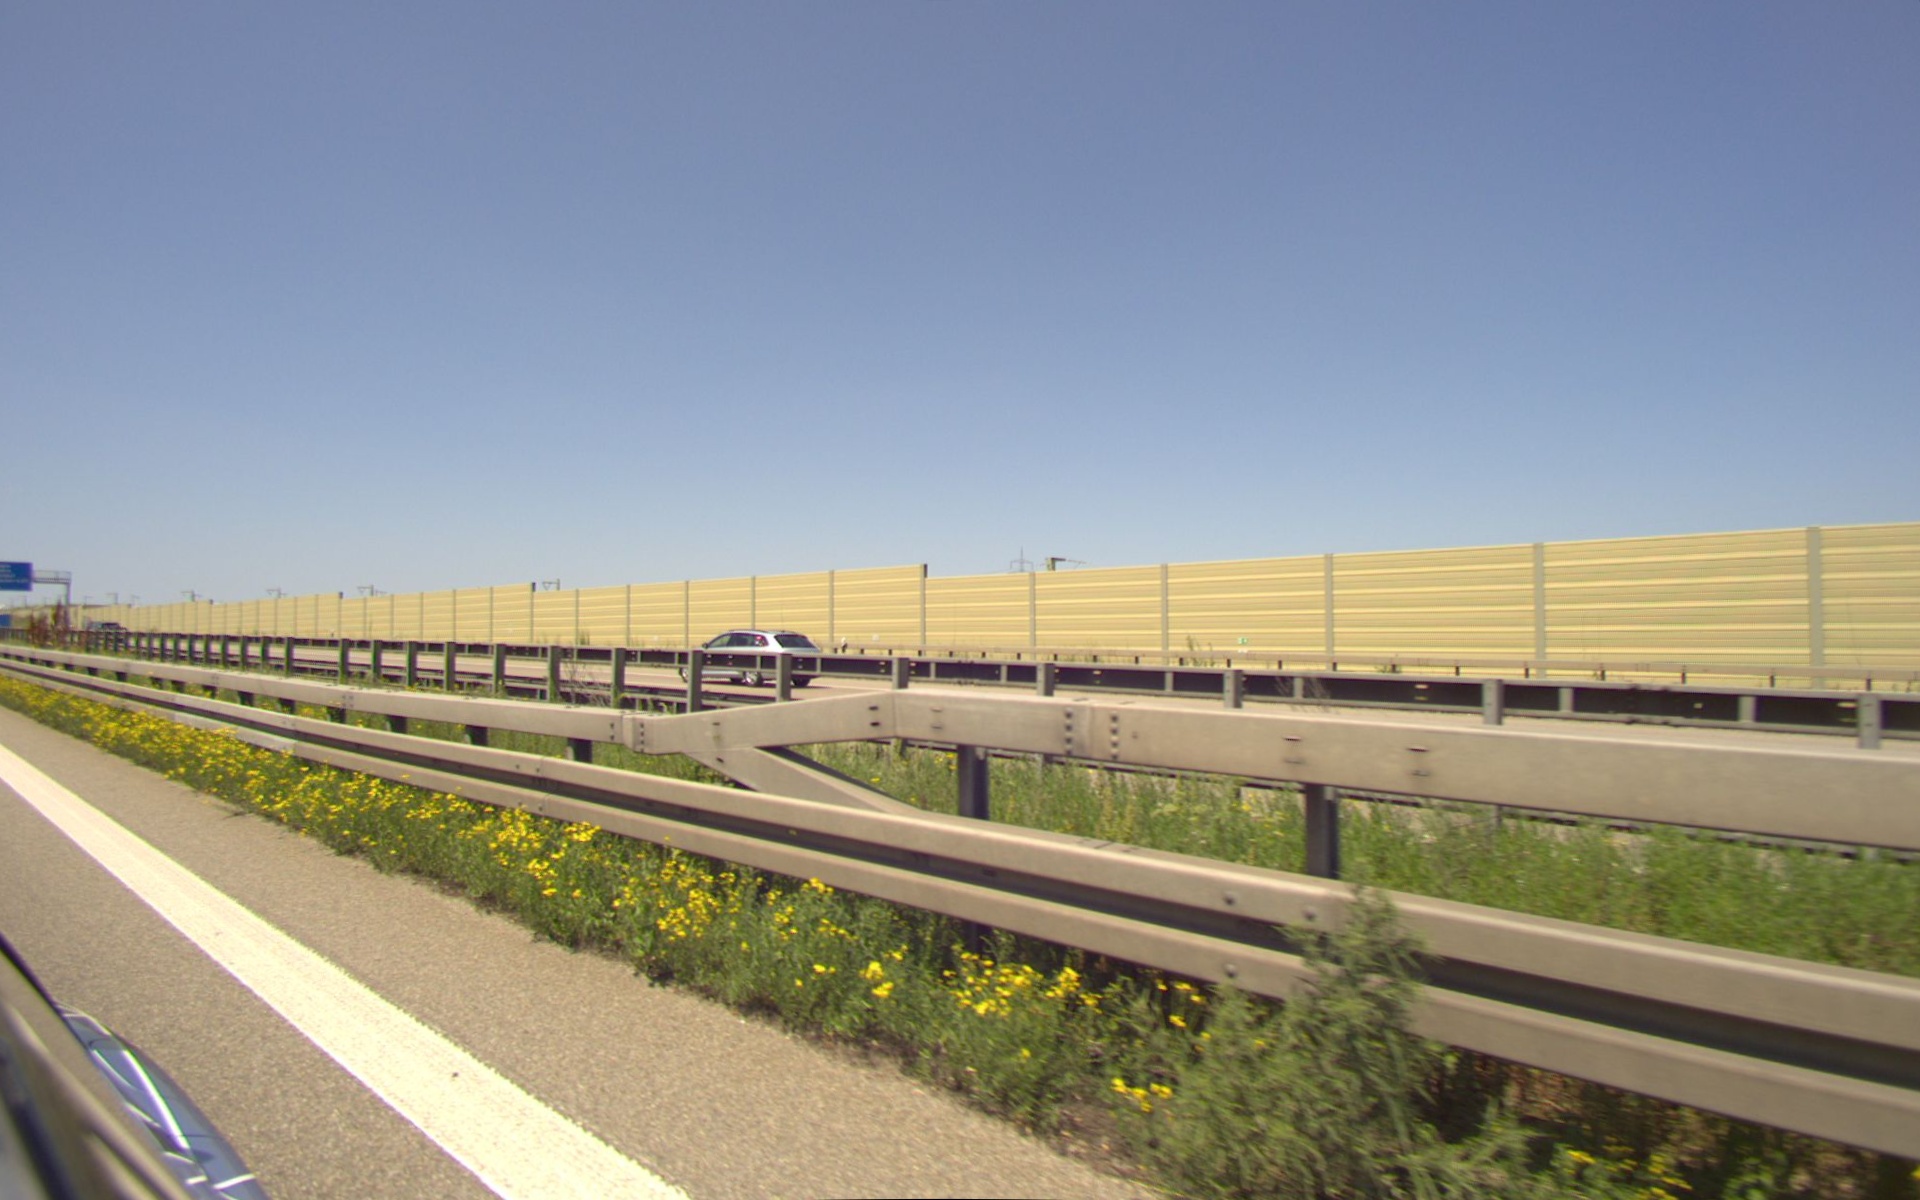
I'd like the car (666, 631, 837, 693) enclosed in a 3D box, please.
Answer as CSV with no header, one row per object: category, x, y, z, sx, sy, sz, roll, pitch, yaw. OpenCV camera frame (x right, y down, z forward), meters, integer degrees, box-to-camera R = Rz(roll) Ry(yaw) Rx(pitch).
car,-5.653,1.593,27.073,4.811,1.475,1.973,-1,-2,41

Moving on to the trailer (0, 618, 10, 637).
trailer,-115.838,3.316,121.528,4.201,2.255,1.974,-1,0,39

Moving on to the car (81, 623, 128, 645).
car,-66.047,2.622,78.123,5.243,1.582,1.877,-1,-3,41
